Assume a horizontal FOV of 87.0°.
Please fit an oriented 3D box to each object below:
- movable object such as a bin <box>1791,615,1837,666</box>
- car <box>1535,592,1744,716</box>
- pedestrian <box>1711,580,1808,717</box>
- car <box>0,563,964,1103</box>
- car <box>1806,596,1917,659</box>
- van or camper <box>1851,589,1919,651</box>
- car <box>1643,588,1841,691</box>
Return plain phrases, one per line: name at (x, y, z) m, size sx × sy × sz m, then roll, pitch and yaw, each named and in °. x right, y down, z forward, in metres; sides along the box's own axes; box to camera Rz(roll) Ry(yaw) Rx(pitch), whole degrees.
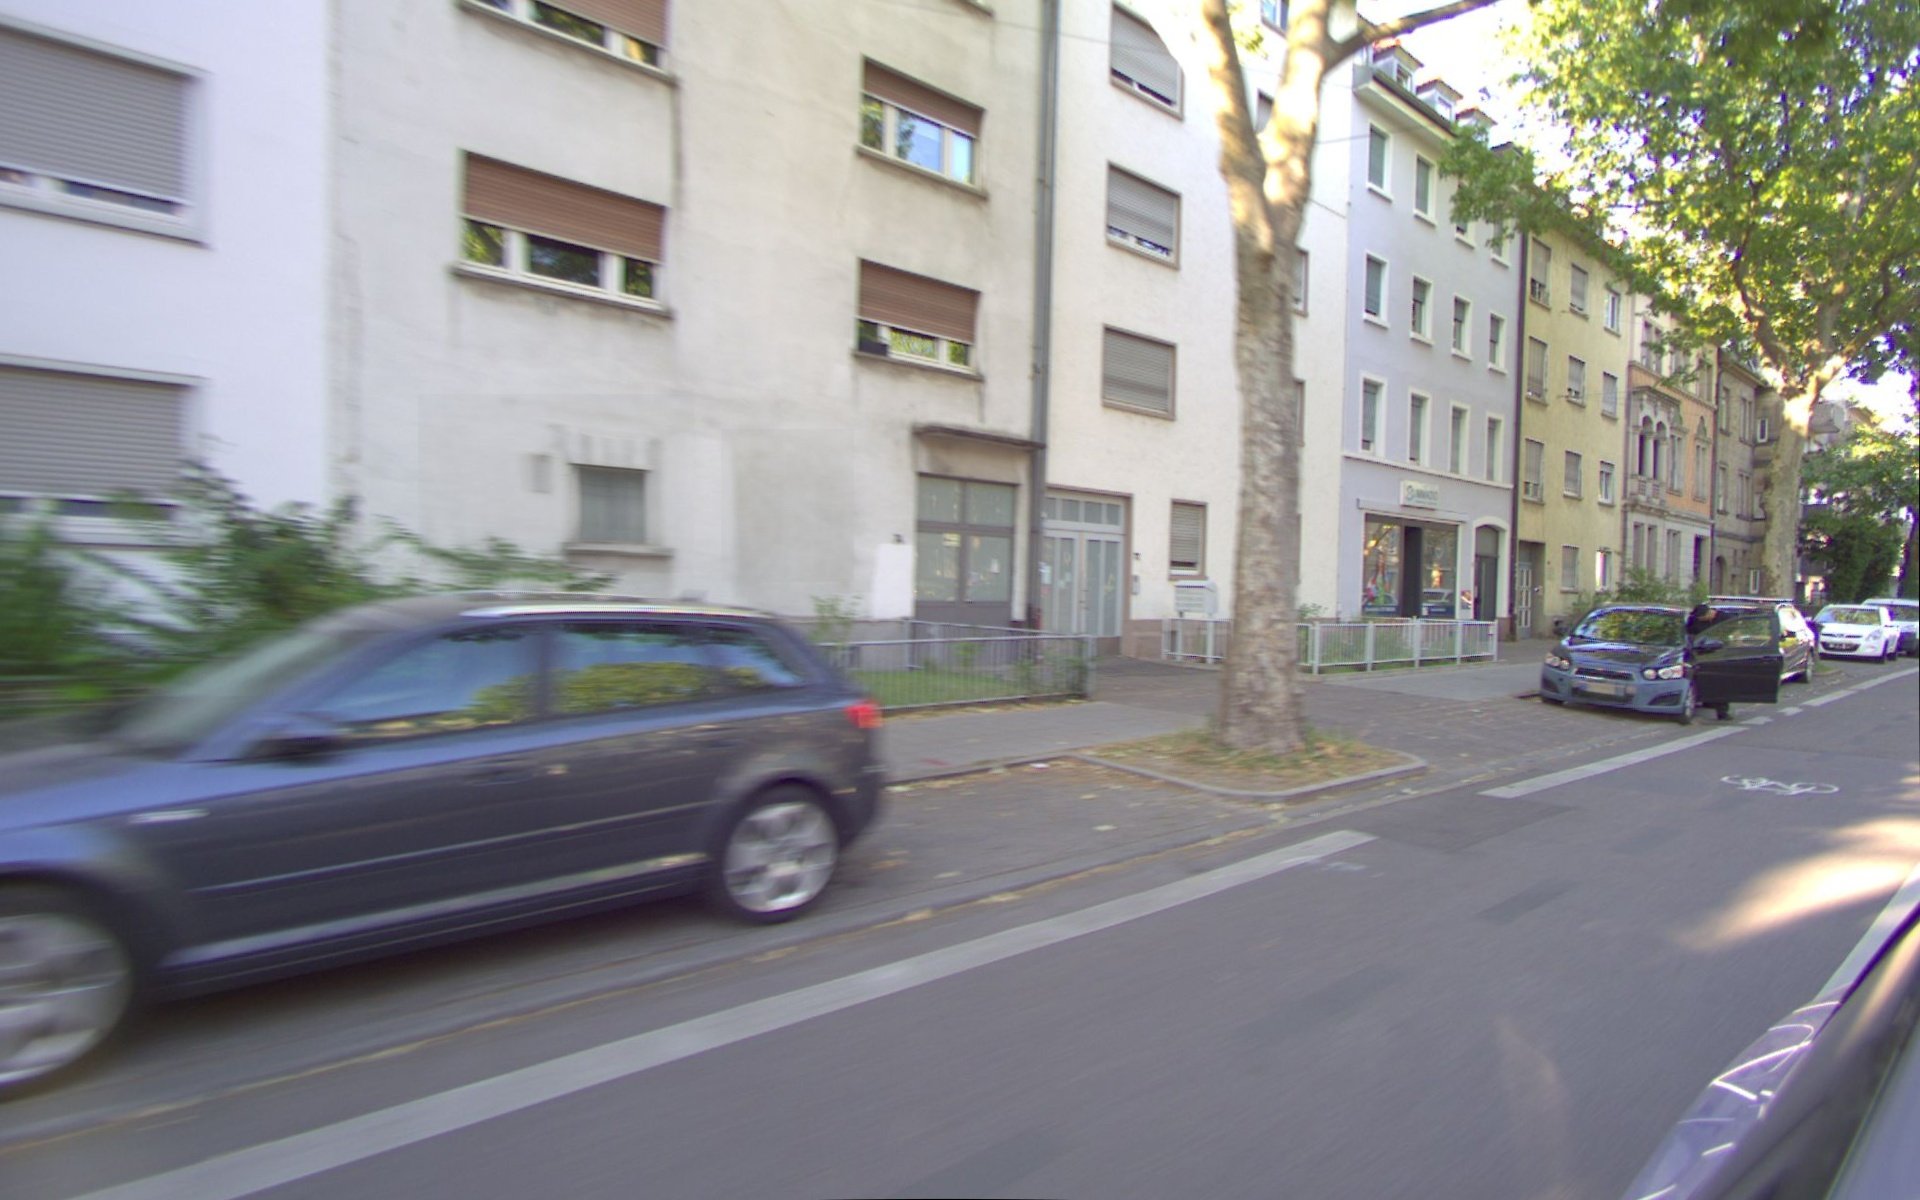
movable object such as a bin at (19.343, 0.904, 22.917) m, size 0.658 × 1.130 × 0.682 m, roll 0°, pitch -1°, yaw -39°
car at (9.767, 0.654, 14.425) m, size 1.744 × 1.482 × 3.961 m, roll 2°, pitch 2°, yaw 45°
pedestrian at (10.609, 0.627, 13.451) m, size 0.665 × 1.773 × 0.757 m, roll 0°, pitch -1°, yaw 1°
car at (-2.174, 0.624, 4.326) m, size 4.287 × 1.432 × 1.712 m, roll 0°, pitch 4°, yaw -41°
car at (24.442, 0.695, 27.382) m, size 4.121 × 1.545 × 1.702 m, roll 0°, pitch 2°, yaw -41°
van or camper at (29.226, 0.586, 31.307) m, size 4.301 × 1.741 × 1.791 m, roll 0°, pitch 3°, yaw -40°
car at (14.689, 0.636, 18.919) m, size 4.582 × 1.585 × 1.998 m, roll 0°, pitch 4°, yaw -41°
